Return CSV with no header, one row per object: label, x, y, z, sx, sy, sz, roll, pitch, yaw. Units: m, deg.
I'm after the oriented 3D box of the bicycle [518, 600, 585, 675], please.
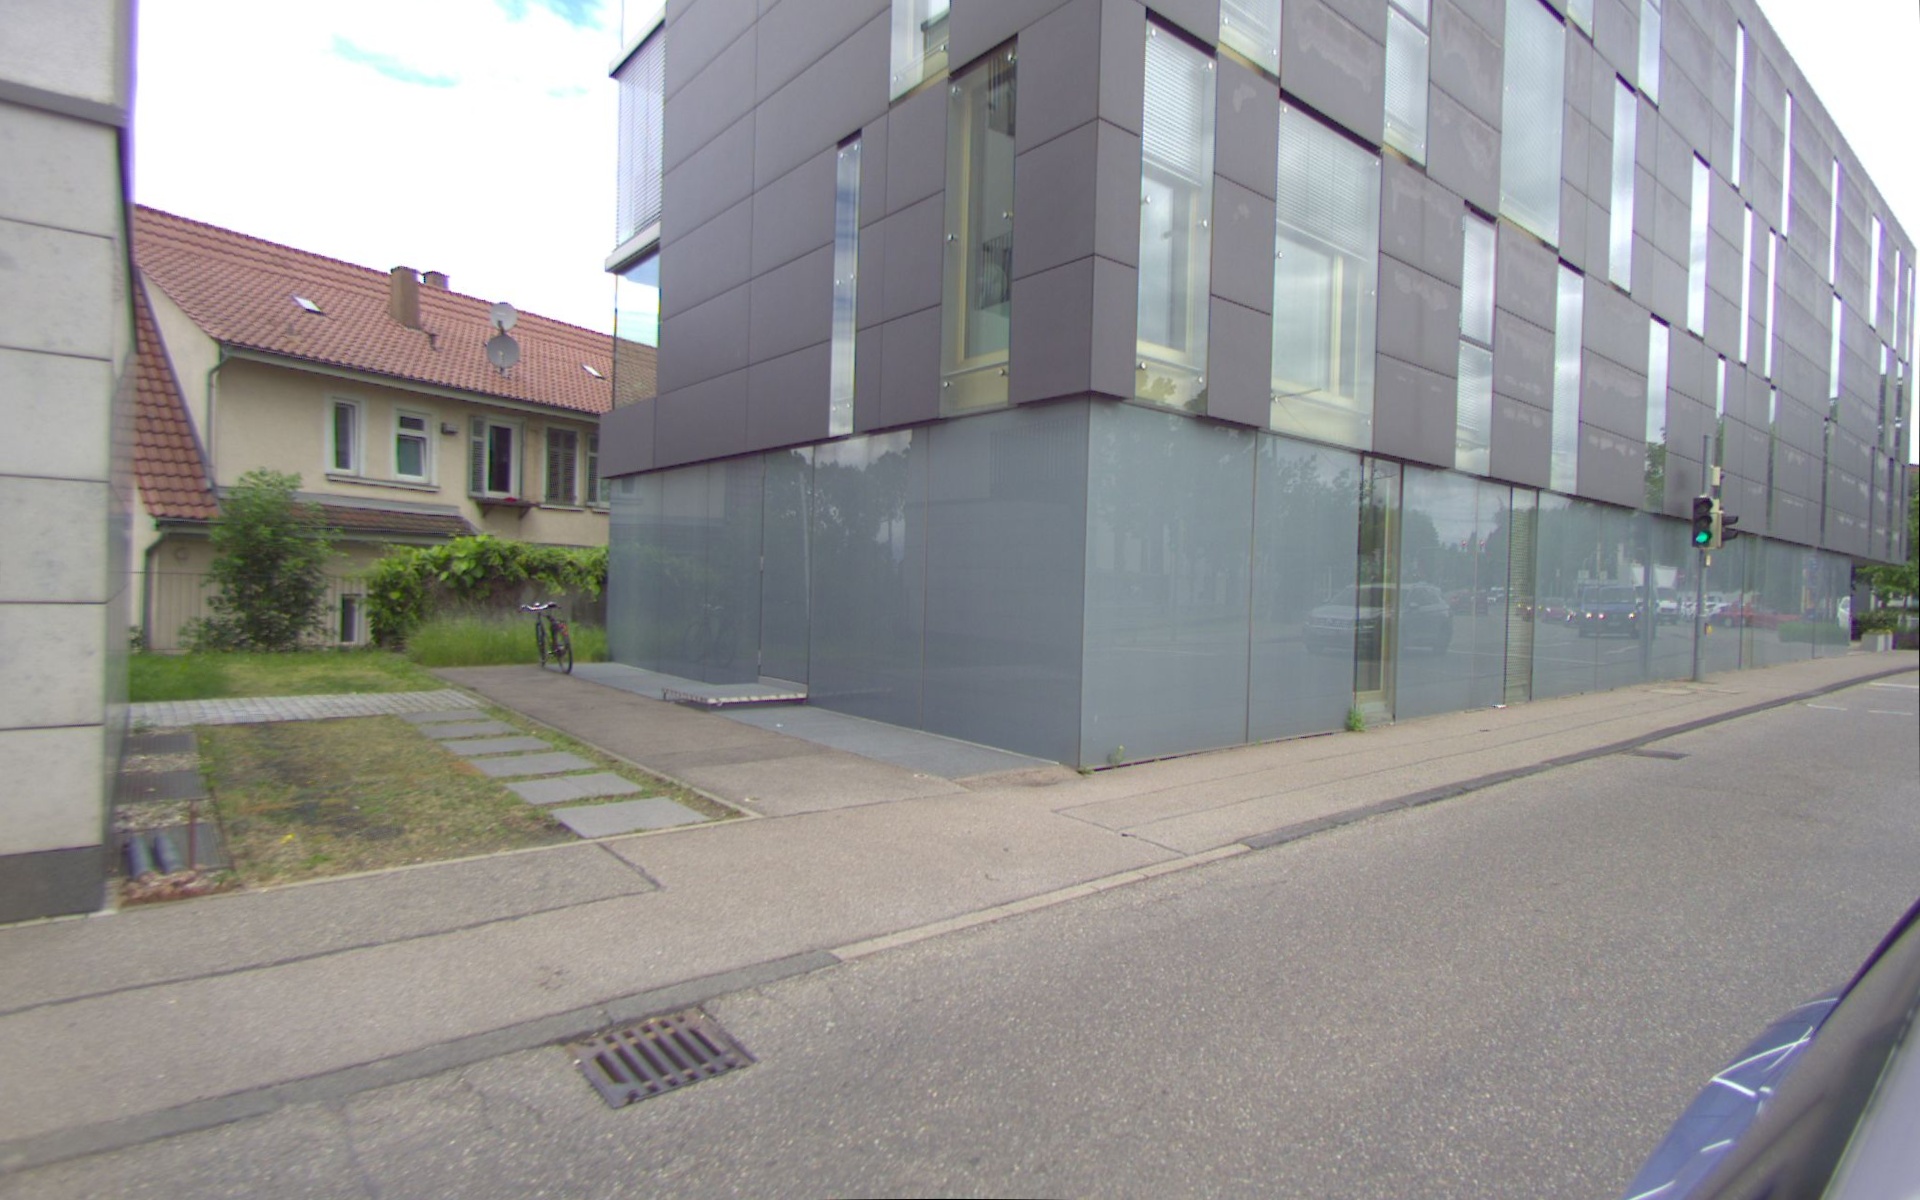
bicycle,-6.007,0.515,14.836,0.365,0.987,1.964,1,1,-38
